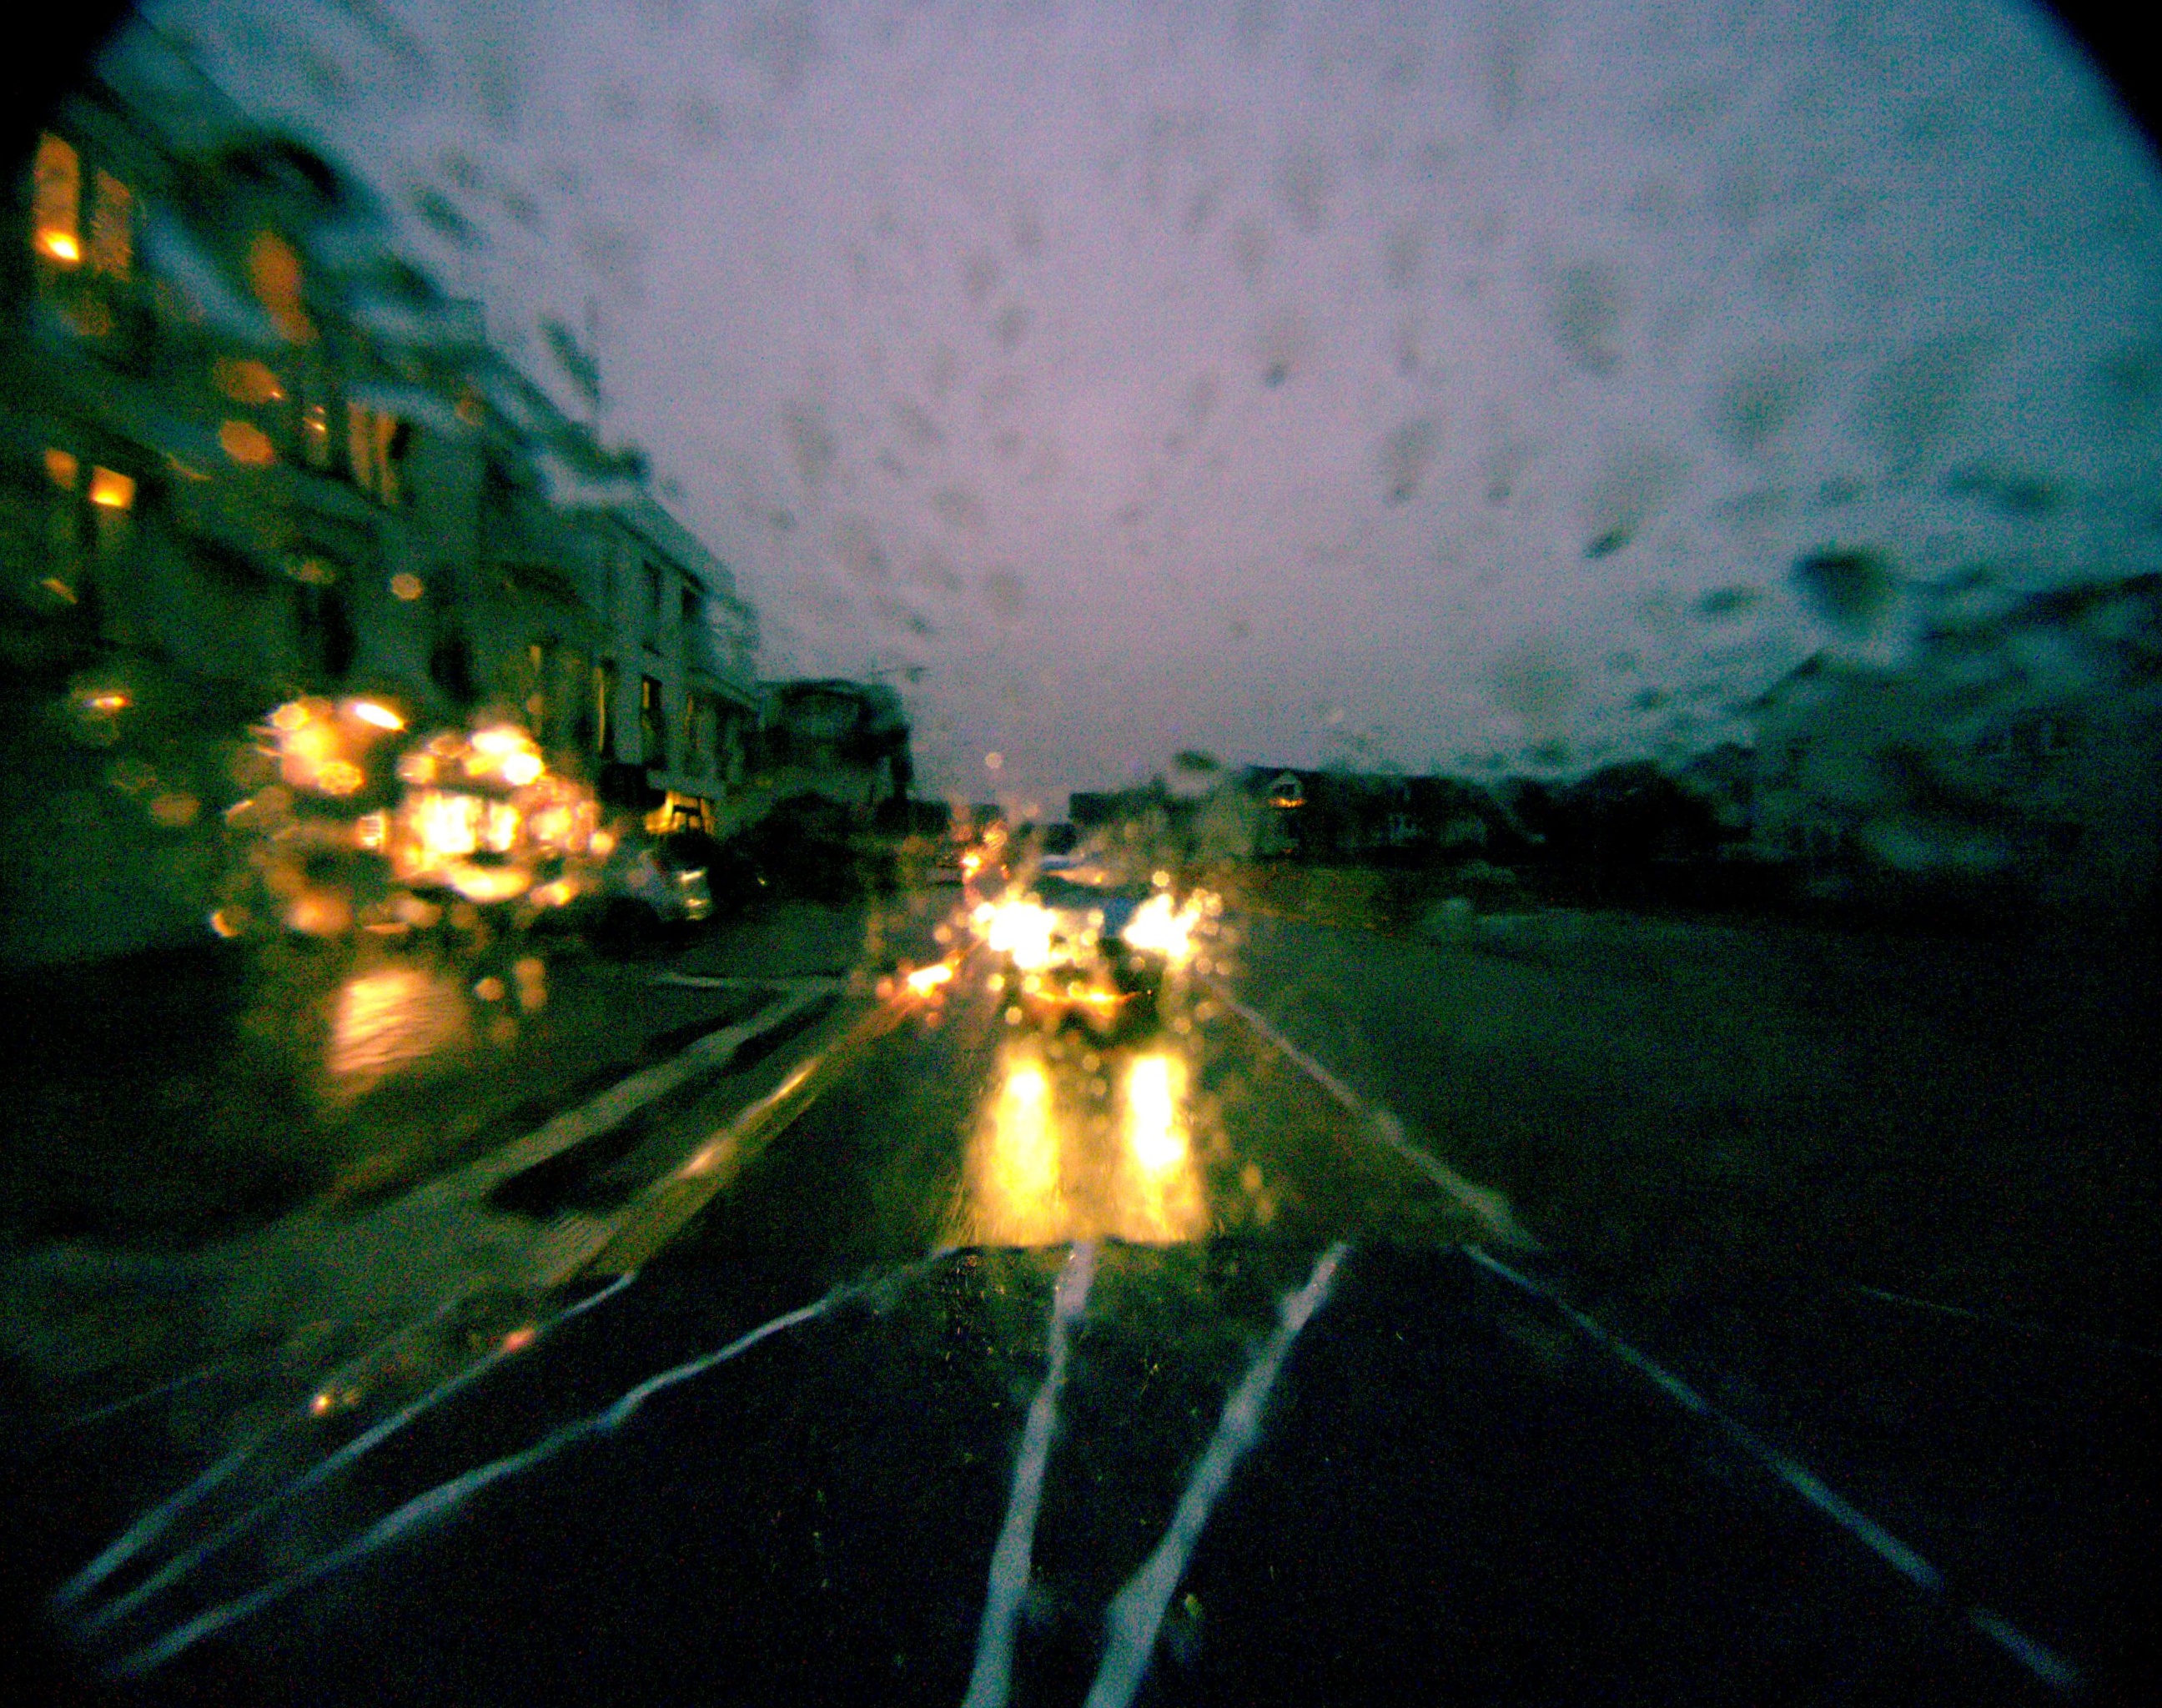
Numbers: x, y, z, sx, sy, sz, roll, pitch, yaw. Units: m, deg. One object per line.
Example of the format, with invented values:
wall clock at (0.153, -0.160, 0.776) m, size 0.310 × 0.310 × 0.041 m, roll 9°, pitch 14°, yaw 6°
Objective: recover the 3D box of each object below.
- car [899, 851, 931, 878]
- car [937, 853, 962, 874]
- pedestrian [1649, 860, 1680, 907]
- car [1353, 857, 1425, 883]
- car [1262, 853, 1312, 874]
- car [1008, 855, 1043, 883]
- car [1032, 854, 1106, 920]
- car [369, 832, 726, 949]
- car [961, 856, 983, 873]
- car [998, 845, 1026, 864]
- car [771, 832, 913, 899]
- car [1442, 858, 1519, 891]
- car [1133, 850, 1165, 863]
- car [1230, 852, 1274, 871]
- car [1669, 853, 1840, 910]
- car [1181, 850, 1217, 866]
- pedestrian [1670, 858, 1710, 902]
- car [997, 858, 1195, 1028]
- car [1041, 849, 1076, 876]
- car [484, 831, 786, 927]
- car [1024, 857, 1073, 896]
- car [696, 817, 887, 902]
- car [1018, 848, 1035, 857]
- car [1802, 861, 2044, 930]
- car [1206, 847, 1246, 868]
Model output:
car at (-10.132, 0.634, 46.575) m, size 1.778 × 1.488 × 3.774 m, roll 2°, pitch -1°, yaw -11°
car at (-10.274, 0.719, 59.377) m, size 1.849 × 1.577 × 3.766 m, roll 0°, pitch 0°, yaw -9°
pedestrian at (16.781, 0.836, 21.860) m, size 0.512 × 1.294 × 0.601 m, roll -1°, pitch 1°, yaw -39°
car at (18.469, 0.940, 45.802) m, size 1.801 × 1.460 × 4.251 m, roll 0°, pitch 1°, yaw -15°
car at (15.621, 0.686, 57.899) m, size 1.801 × 1.460 × 4.251 m, roll 0°, pitch 1°, yaw -15°
car at (-3.244, 0.814, 43.676) m, size 1.742 × 1.434 × 3.997 m, roll -1°, pitch 1°, yaw -7°
car at (-0.417, 0.813, 20.508) m, size 1.682 × 1.614 × 3.998 m, roll 0°, pitch 0°, yaw -6°
car at (-7.815, 0.520, 11.552) m, size 4.002 × 1.495 × 1.811 m, roll 3°, pitch 1°, yaw -12°
car at (-10.322, 0.981, 71.699) m, size 1.835 × 1.535 × 3.711 m, roll -1°, pitch 0°, yaw -11°
car at (-7.527, 0.011, 82.115) m, size 2.002 × 2.002 × 3.992 m, roll -1°, pitch 1°, yaw -21°
car at (-7.833, 0.377, 25.263) m, size 4.153 × 1.625 × 1.753 m, roll 8°, pitch -1°, yaw -11°
car at (19.852, 1.000, 37.882) m, size 1.479 × 1.500 × 3.499 m, roll 0°, pitch 1°, yaw -12°
car at (7.516, 0.259, 84.735) m, size 1.802 × 1.460 × 4.608 m, roll 0°, pitch 1°, yaw -19°
car at (14.137, 0.579, 63.067) m, size 1.801 × 1.460 × 4.251 m, roll 0°, pitch 1°, yaw -15°
car at (21.894, 0.835, 24.928) m, size 1.704 × 1.651 × 3.955 m, roll -1°, pitch 1°, yaw -11°
car at (11.315, 0.384, 73.305) m, size 1.678 × 1.460 × 4.010 m, roll 2°, pitch -1°, yaw -19°
pedestrian at (17.594, 0.732, 21.961) m, size 0.693 × 1.242 × 0.602 m, roll 0°, pitch 1°, yaw -6°
car at (0.022, 0.866, 9.354) m, size 1.889 × 1.569 × 3.998 m, roll -2°, pitch 0°, yaw -4°
car at (-1.624, 0.576, 53.308) m, size 1.725 × 1.802 × 4.131 m, roll -1°, pitch 1°, yaw -13°
car at (-8.319, 0.459, 14.596) m, size 4.522 × 1.483 × 1.973 m, roll 3°, pitch 0°, yaw -7°
car at (-1.394, 0.866, 31.263) m, size 1.573 × 1.460 × 3.613 m, roll -1°, pitch 0°, yaw -9°
car at (-8.047, 0.170, 21.504) m, size 4.553 × 1.922 × 1.974 m, roll 5°, pitch 0°, yaw -6°
car at (-9.340, -0.275, 130.303) m, size 1.802 × 1.460 × 4.249 m, roll 0°, pitch 1°, yaw -20°
car at (22.484, 1.024, 20.561) m, size 1.780 × 1.560 × 4.090 m, roll -1°, pitch 1°, yaw -8°
car at (12.900, 0.281, 67.742) m, size 1.801 × 1.816 × 4.251 m, roll 0°, pitch 1°, yaw -15°
